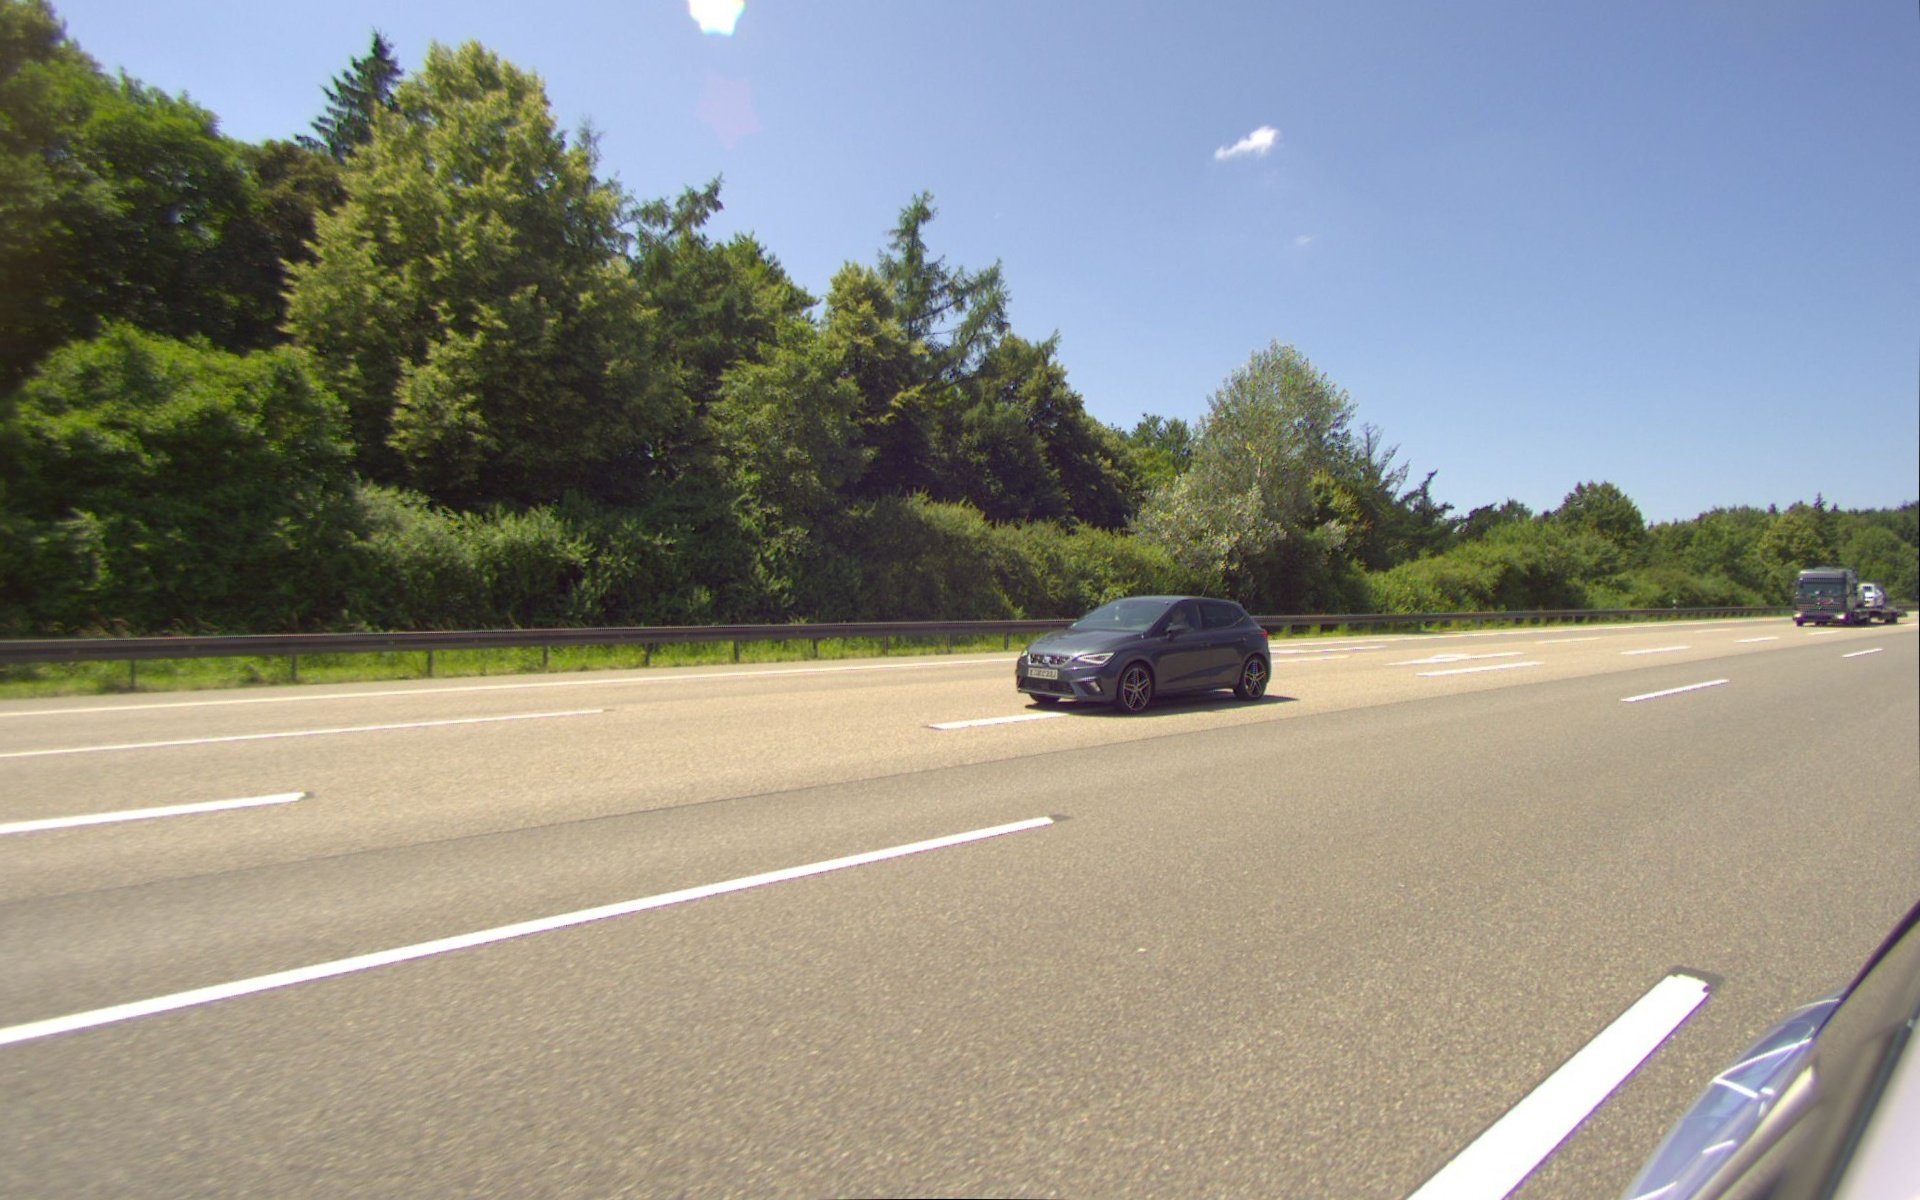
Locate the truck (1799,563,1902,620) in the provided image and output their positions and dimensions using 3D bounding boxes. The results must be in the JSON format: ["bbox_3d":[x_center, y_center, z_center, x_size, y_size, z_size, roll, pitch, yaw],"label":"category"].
[{"bbox_3d":[48.635,-0.473,55.132,10.693,2.892,2.658,-1,0,-40],"label":"truck"}]

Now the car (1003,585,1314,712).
[{"bbox_3d":[2.830,0.540,13.831,4.552,1.456,1.646,-1,1,-39],"label":"car"}]

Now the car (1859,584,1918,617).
[{"bbox_3d":[55.976,0.003,60.967,4.783,1.920,1.997,-1,0,-40],"label":"car"}]
